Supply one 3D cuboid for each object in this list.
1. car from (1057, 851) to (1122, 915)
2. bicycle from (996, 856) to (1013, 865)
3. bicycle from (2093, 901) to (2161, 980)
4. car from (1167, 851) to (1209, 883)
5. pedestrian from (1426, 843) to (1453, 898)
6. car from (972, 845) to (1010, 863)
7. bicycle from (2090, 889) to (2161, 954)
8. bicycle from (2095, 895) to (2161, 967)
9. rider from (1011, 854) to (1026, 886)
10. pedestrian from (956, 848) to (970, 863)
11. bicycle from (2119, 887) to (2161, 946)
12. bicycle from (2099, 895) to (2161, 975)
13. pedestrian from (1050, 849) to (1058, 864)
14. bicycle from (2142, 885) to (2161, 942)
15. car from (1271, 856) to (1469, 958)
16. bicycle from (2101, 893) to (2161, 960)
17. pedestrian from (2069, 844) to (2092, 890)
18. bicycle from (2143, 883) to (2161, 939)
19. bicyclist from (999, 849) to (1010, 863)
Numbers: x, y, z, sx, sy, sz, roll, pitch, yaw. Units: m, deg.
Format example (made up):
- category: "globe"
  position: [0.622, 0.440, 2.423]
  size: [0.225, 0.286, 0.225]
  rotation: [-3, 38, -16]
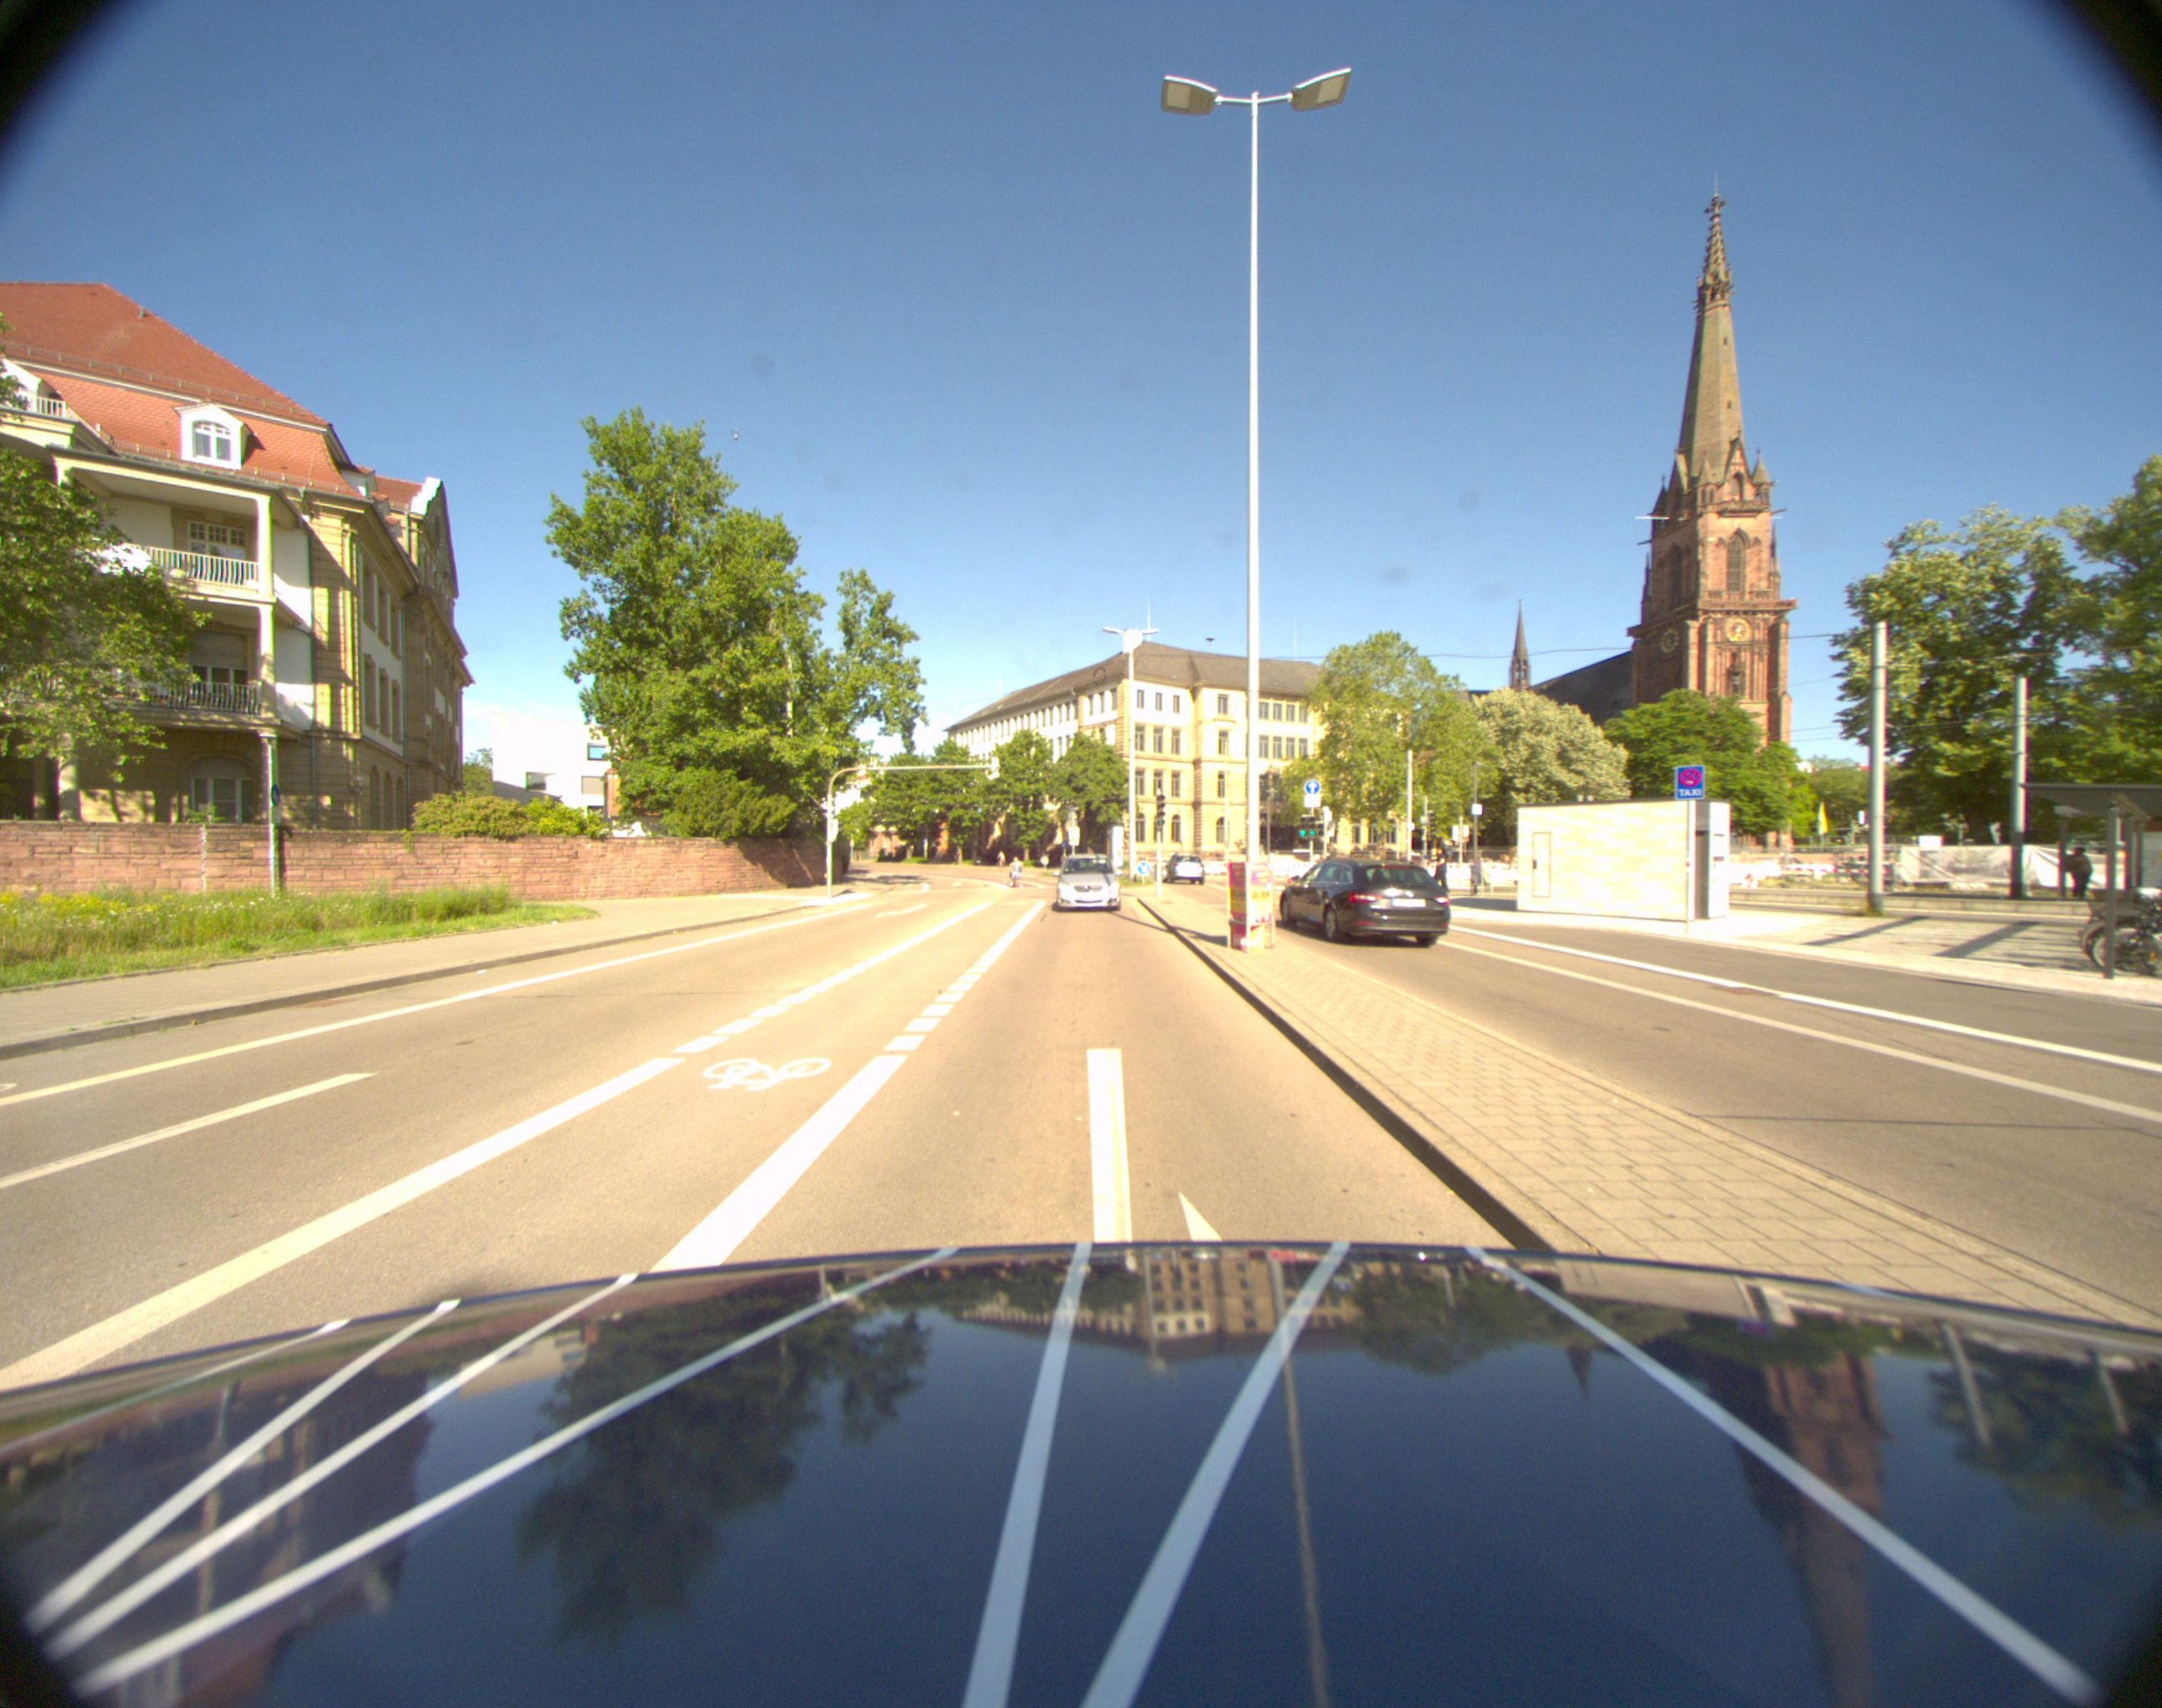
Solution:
- category: "car"
  position: [0.187, 0.773, 22.264]
  size: [1.706, 1.657, 3.913]
  rotation: [-1, 1, -1]
- category: "bicycle"
  position: [-8.052, 0.682, 79.667]
  size: [1.830, 0.985, 0.735]
  rotation: [0, 1, 44]
- category: "bicycle"
  position: [14.698, 1.170, 9.962]
  size: [0.458, 1.003, 1.667]
  rotation: [-1, 1, -33]
- category: "car"
  position: [5.612, 0.660, 40.274]
  size: [1.859, 1.533, 4.241]
  rotation: [1, 1, 3]
- category: "pedestrian"
  position: [12.139, 0.548, 25.727]
  size: [0.693, 1.844, 0.679]
  rotation: [0, 1, 12]
- category: "car"
  position: [-10.725, -0.034, 90.759]
  size: [1.994, 2.002, 4.721]
  rotation: [0, 1, 32]
- category: "bicycle"
  position: [17.912, 1.126, 12.424]
  size: [0.458, 1.003, 1.667]
  rotation: [-1, 1, -33]
- category: "bicycle"
  position: [16.071, 1.147, 10.973]
  size: [0.458, 1.003, 1.667]
  rotation: [-1, 1, -33]
- category: "rider"
  position: [-3.174, 0.804, 38.756]
  size: [0.658, 1.610, 0.989]
  rotation: [-1, 1, 1]
- category: "pedestrian"
  position: [-14.177, 0.192, 91.493]
  size: [0.934, 1.812, 1.394]
  rotation: [1, 1, 45]
- category: "bicycle"
  position: [19.126, 1.098, 12.945]
  size: [0.458, 1.003, 1.667]
  rotation: [-1, 1, -33]
- category: "bicycle"
  position: [15.199, 1.130, 10.277]
  size: [0.458, 1.055, 1.667]
  rotation: [-1, 1, -33]
- category: "pedestrian"
  position: [-3.064, 0.284, 85.657]
  size: [0.677, 1.714, 0.588]
  rotation: [-1, 1, -22]
- category: "bicycle"
  position: [19.893, 1.074, 13.196]
  size: [0.458, 1.003, 1.667]
  rotation: [-1, 1, -33]
- category: "car"
  position: [5.040, 0.826, 14.021]
  size: [1.793, 1.490, 4.574]
  rotation: [1, 1, -1]
- category: "bicycle"
  position: [17.258, 1.147, 11.651]
  size: [0.458, 1.003, 1.899]
  rotation: [-1, 1, -33]
- category: "pedestrian"
  position: [37.571, 0.498, 28.573]
  size: [0.404, 1.711, 0.419]
  rotation: [1, 1, 38]
- category: "bicycle"
  position: [20.486, 1.062, 13.607]
  size: [0.458, 1.003, 1.667]
  rotation: [-1, 1, -33]
- category: "bicyclist"
  position: [-8.020, 0.210, 79.624]
  size: [0.893, 1.377, 0.735]
  rotation: [1, 1, 44]
